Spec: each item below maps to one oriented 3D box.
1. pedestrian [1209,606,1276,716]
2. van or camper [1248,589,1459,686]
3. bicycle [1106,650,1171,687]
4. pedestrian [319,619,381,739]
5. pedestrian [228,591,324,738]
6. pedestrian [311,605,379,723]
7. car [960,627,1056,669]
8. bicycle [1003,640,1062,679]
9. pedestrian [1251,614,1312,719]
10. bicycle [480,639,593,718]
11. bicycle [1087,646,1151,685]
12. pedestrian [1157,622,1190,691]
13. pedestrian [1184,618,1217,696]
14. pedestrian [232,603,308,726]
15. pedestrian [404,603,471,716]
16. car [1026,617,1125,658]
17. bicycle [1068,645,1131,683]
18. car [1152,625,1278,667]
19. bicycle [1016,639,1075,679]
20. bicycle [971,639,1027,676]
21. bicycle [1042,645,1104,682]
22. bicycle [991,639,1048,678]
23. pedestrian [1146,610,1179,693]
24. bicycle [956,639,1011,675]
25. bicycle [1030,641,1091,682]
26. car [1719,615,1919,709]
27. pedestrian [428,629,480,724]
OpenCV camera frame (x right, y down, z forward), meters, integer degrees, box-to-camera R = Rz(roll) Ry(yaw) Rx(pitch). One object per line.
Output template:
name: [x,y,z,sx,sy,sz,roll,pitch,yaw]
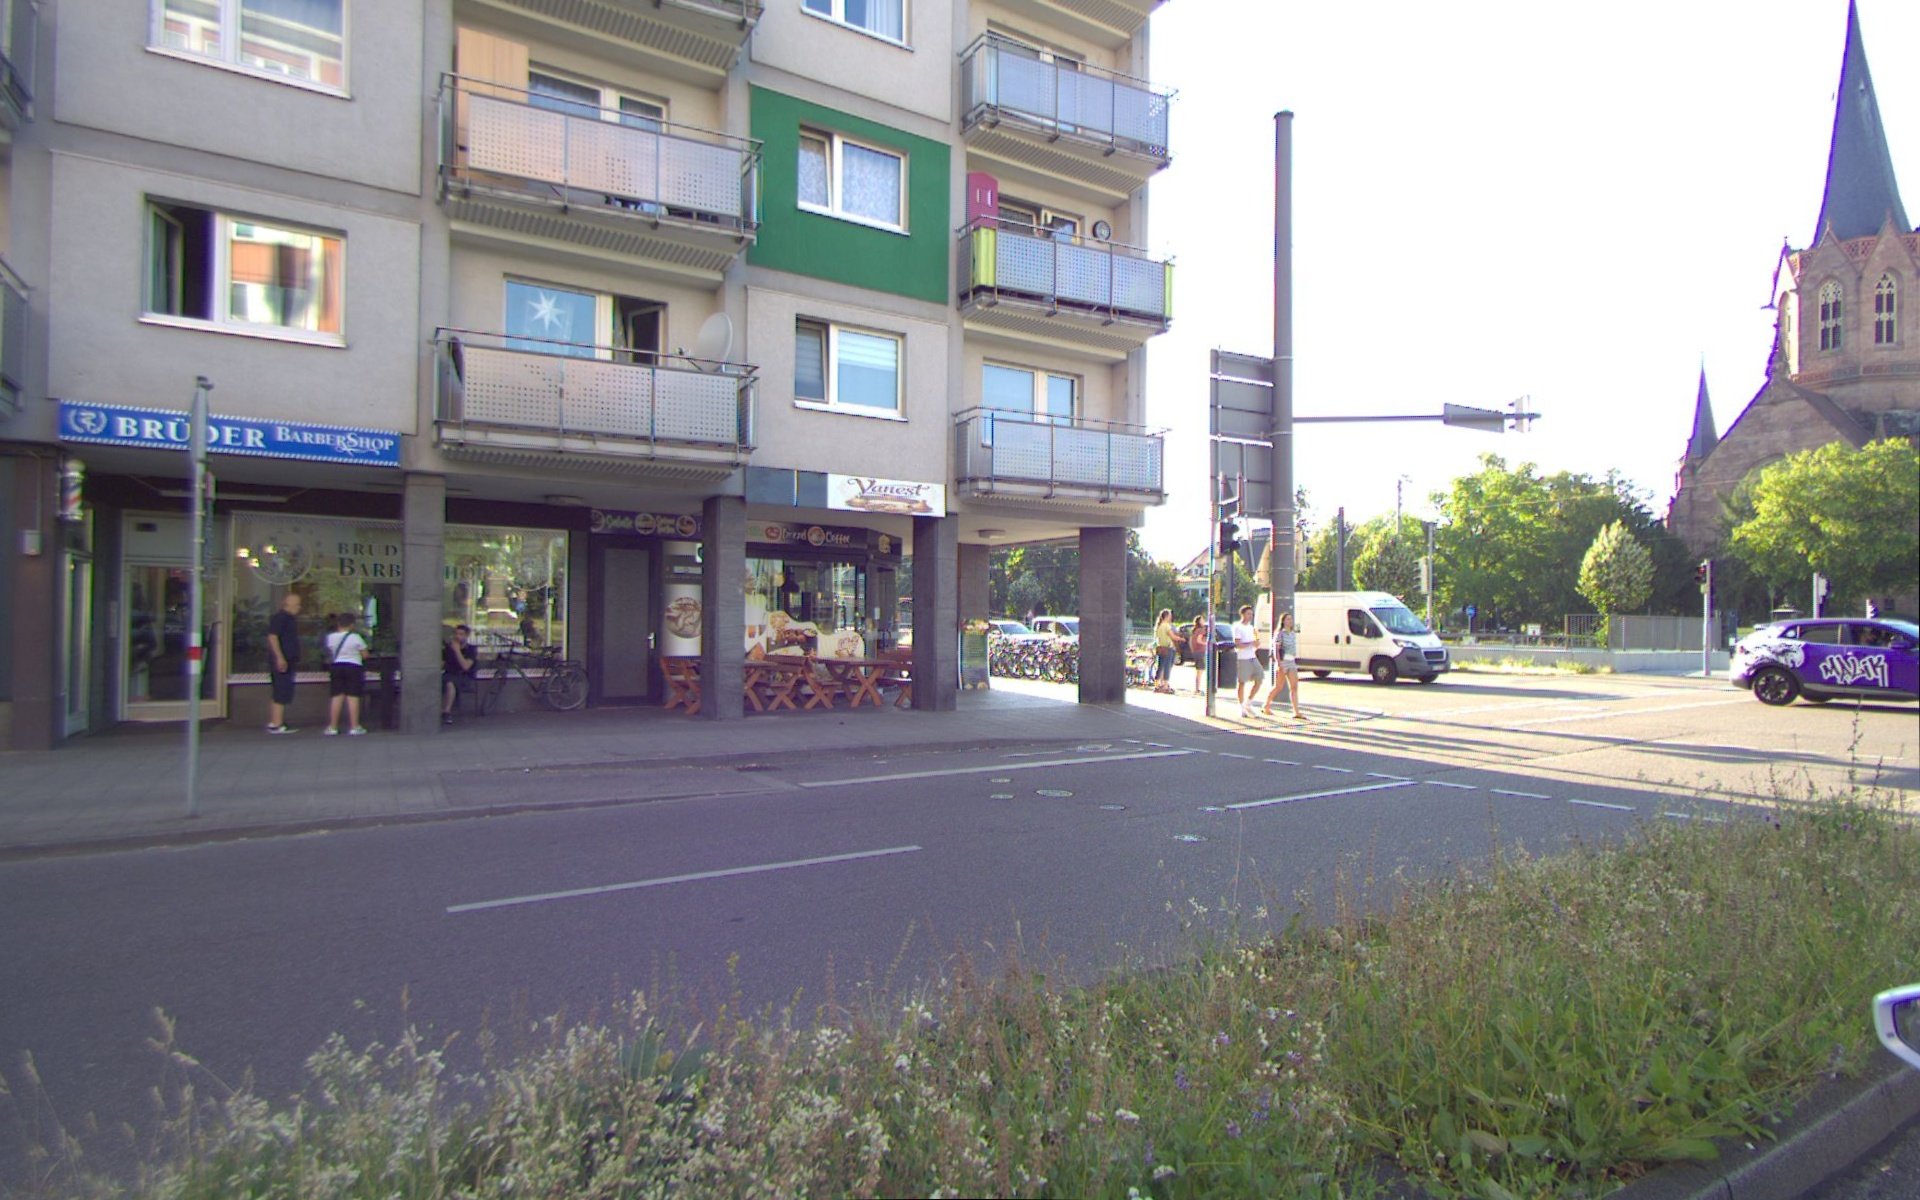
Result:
pedestrian: [4.731,1.004,16.851,0.664,1.781,0.921,1,-1,-22]
van or camper: [10.815,1.006,28.082,2.139,2.448,5.397,1,-1,-29]
bicycle: [4.364,1.666,24.478,1.684,0.851,0.493,1,-1,-32]
pedestrian: [-7.282,0.925,11.999,0.472,1.402,0.484,1,-1,-11]
pedestrian: [-8.262,0.768,12.147,0.764,1.723,0.561,0,-1,13]
pedestrian: [-8.590,0.879,14.056,0.778,1.599,0.558,1,-1,-30]
car: [1.967,1.974,42.549,1.938,1.640,4.461,1,-1,-31]
bicycle: [2.050,1.664,28.359,1.684,1.049,0.493,1,-1,-32]
pedestrian: [5.444,1.107,17.052,0.664,1.731,0.752,1,-1,-22]
bicycle: [-6.255,1.144,14.860,1.441,1.095,0.584,2,-2,-34]
bicycle: [3.994,1.622,25.167,1.684,0.919,0.493,1,-1,-32]
pedestrian: [4.831,1.266,22.719,0.570,1.550,0.465,1,-1,-32]
pedestrian: [5.198,1.229,21.731,0.566,1.663,0.468,1,-1,-11]
pedestrian: [-9.310,0.854,13.575,0.778,1.599,0.558,1,-1,-30]
pedestrian: [-7.669,0.858,14.735,0.780,1.599,0.557,1,-1,-37]
car: [4.987,1.609,44.058,2.096,1.694,4.433,1,-1,-30]
bicycle: [3.569,1.625,25.634,1.684,0.919,0.493,1,-1,-32]
car: [9.356,1.664,37.167,1.938,1.427,4.461,1,-1,-31]
bicycle: [2.368,1.621,27.809,1.684,1.044,0.493,1,-1,-32]
bicycle: [1.185,1.683,29.903,0.491,1.049,1.928,-1,-2,45]
bicycle: [2.998,1.665,26.553,1.684,0.919,0.493,1,-1,-32]
bicycle: [1.741,1.676,29.047,0.491,1.049,1.928,-1,-2,45]
pedestrian: [4.433,1.126,22.037,0.464,1.792,0.550,1,-1,-29]
bicycle: [0.720,1.714,30.493,0.491,1.049,1.928,-1,-2,45]
bicycle: [2.727,1.648,27.133,1.684,1.052,0.493,1,-1,-32]
car: [16.618,1.076,18.083,1.814,1.594,4.384,1,-1,-29]
pedestrian: [-6.894,1.026,13.705,0.522,1.256,0.556,1,-1,-16]
